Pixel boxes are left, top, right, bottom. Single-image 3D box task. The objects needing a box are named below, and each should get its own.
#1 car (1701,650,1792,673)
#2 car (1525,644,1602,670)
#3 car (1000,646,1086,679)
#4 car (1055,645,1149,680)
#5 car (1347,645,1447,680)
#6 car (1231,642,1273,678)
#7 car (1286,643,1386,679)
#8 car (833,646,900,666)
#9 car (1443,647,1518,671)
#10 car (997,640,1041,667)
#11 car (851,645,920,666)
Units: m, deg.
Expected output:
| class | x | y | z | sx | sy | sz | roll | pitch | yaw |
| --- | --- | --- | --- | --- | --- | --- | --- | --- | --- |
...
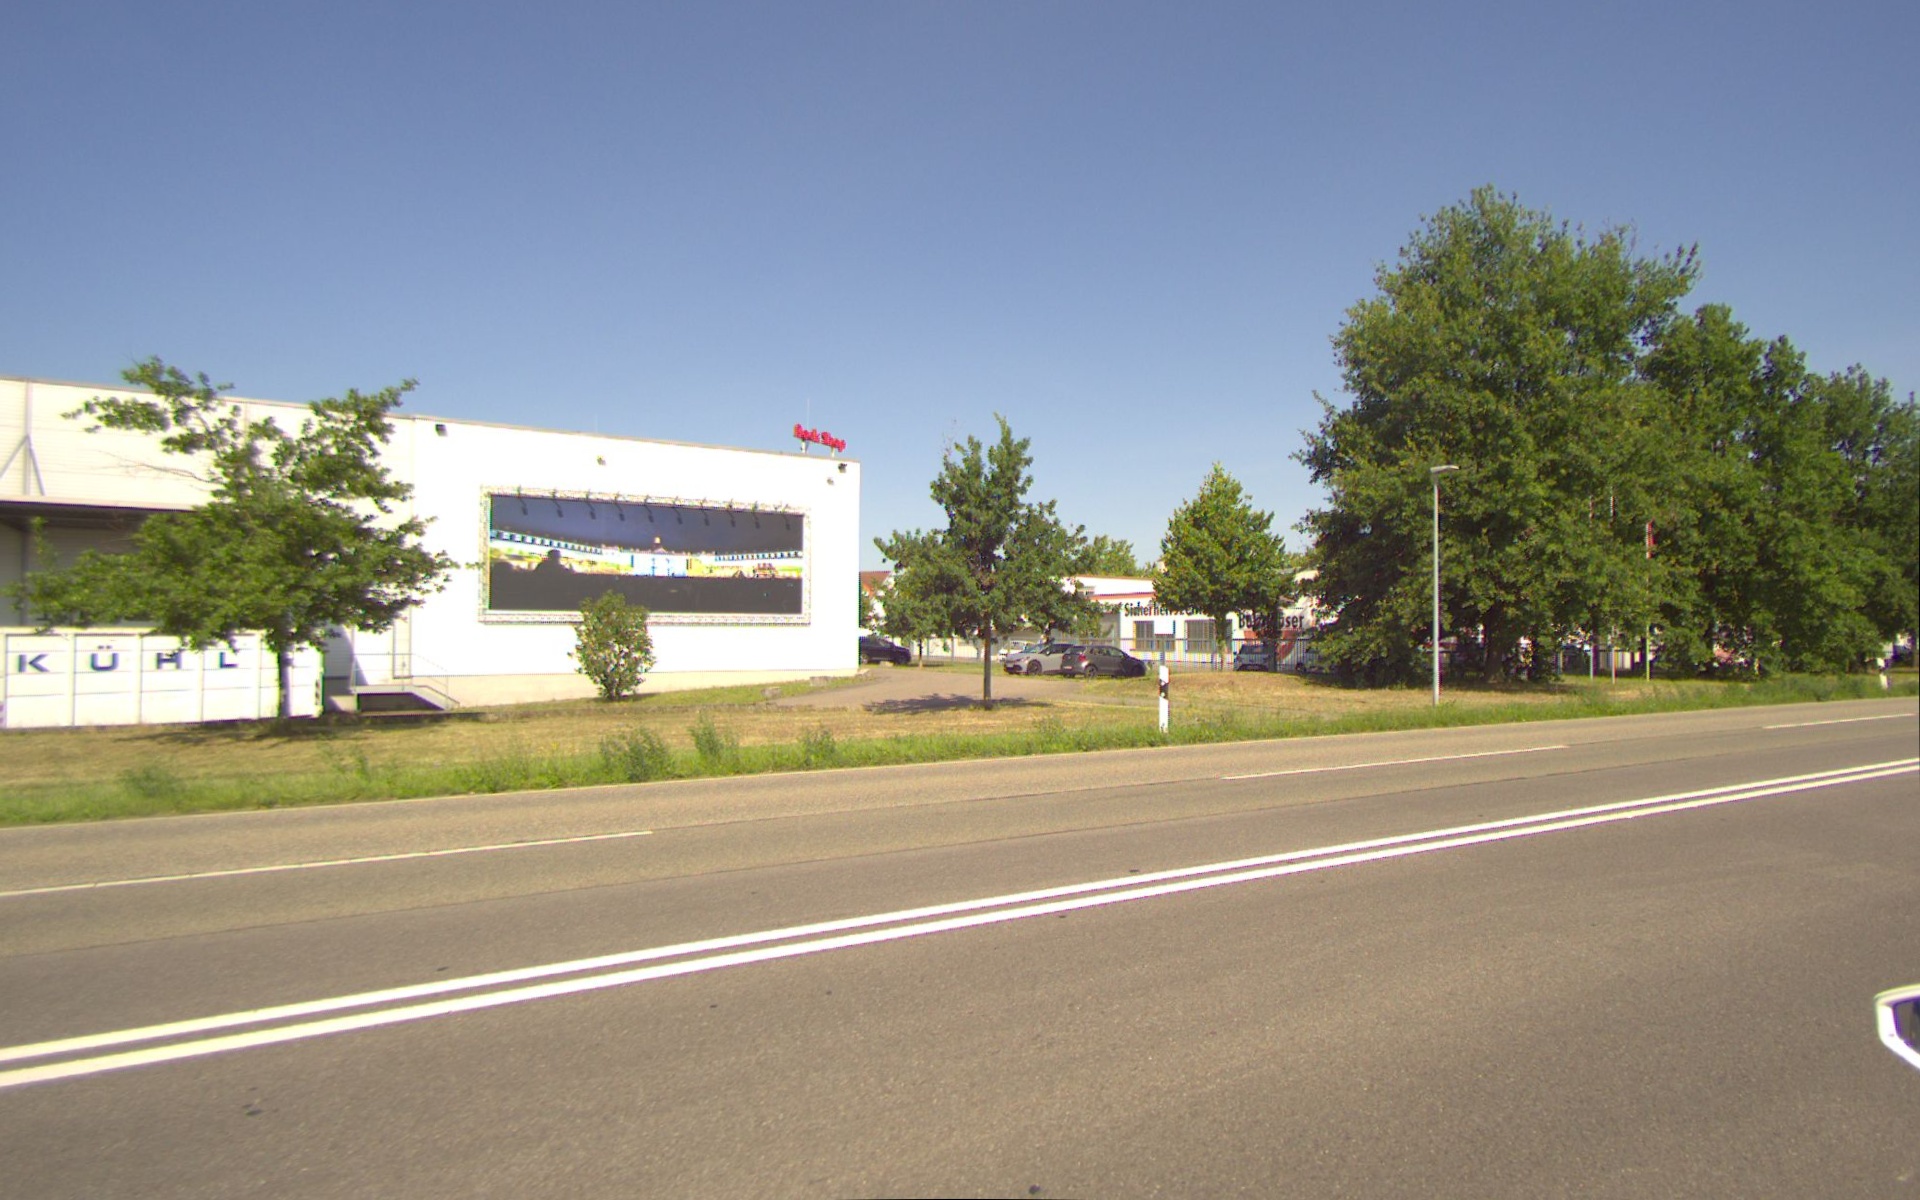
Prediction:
| class | x | y | z | sx | sy | sz | roll | pitch | yaw |
| --- | --- | --- | --- | --- | --- | --- | --- | --- | --- |
| car | 48.119 | 3.771 | 61.561 | 1.840 | 1.322 | 3.972 | 1 | -4 | -29 |
| car | 33.203 | 3.133 | 55.237 | 4.612 | 1.367 | 1.777 | 2 | -4 | -33 |
| car | 3.784 | 2.813 | 45.894 | 3.680 | 1.429 | 1.628 | 1 | -2 | -31 |
| car | 5.944 | 2.589 | 41.943 | 3.680 | 1.408 | 1.628 | 1 | -2 | -31 |
| car | 20.078 | 2.831 | 46.313 | 1.737 | 1.520 | 3.969 | 1 | -3 | -30 |
| car | 12.906 | 2.621 | 44.381 | 1.706 | 1.520 | 4.002 | -1 | -2 | 17 |
| car | 16.550 | 2.646 | 44.342 | 1.737 | 1.520 | 3.969 | 1 | -3 | -30 |
| car | -5.913 | 3.518 | 63.631 | 3.897 | 1.223 | 1.628 | 2 | -2 | -31 |
| car | 30.008 | 3.389 | 57.889 | 4.612 | 1.367 | 1.777 | 2 | -4 | -33 |
| car | 3.633 | 3.221 | 61.202 | 1.441 | 1.579 | 3.381 | -1 | -3 | 27 |
| car | -4.563 | 3.374 | 61.434 | 3.897 | 1.223 | 1.628 | 2 | -2 | -31 |
